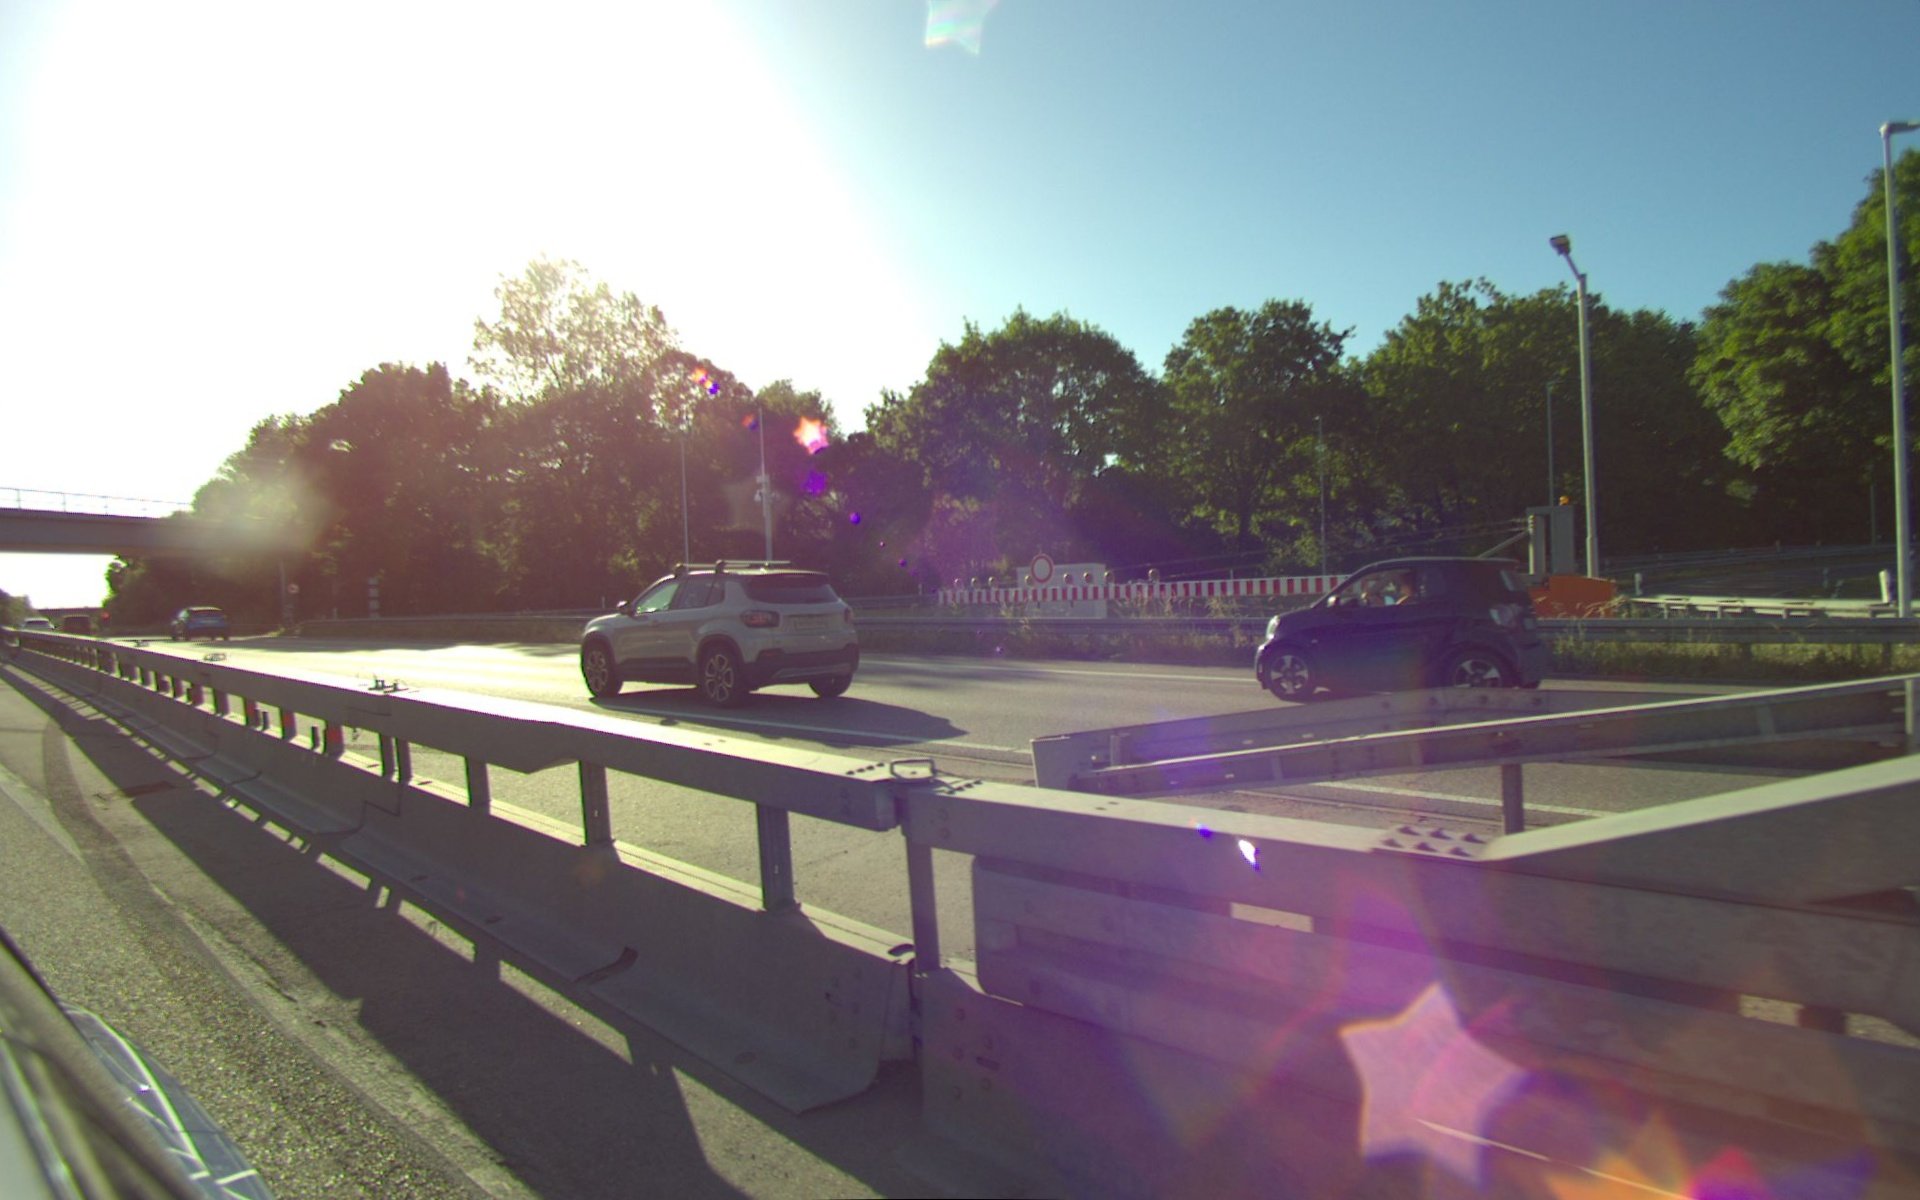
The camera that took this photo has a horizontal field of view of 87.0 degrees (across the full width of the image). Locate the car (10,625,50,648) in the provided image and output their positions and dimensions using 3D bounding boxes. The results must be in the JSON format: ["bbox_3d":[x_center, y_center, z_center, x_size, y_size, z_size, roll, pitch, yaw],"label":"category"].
[{"bbox_3d":[-67.371,2.652,73.276,4.532,1.590,1.767,-2,-1,43],"label":"car"}]

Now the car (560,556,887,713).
[{"bbox_3d":[-2.972,0.379,12.233,4.160,1.587,1.699,-1,0,40],"label":"car"}]

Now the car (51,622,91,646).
[{"bbox_3d":[-74.991,2.847,85.323,5.520,1.925,1.972,-2,0,43],"label":"car"}]

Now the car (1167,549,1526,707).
[{"bbox_3d":[4.217,0.293,11.273,3.389,1.496,1.593,-2,-1,40],"label":"car"}]

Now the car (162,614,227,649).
[{"bbox_3d":[-36.509,1.485,48.221,4.320,1.584,1.655,-2,-1,42],"label":"car"}]
